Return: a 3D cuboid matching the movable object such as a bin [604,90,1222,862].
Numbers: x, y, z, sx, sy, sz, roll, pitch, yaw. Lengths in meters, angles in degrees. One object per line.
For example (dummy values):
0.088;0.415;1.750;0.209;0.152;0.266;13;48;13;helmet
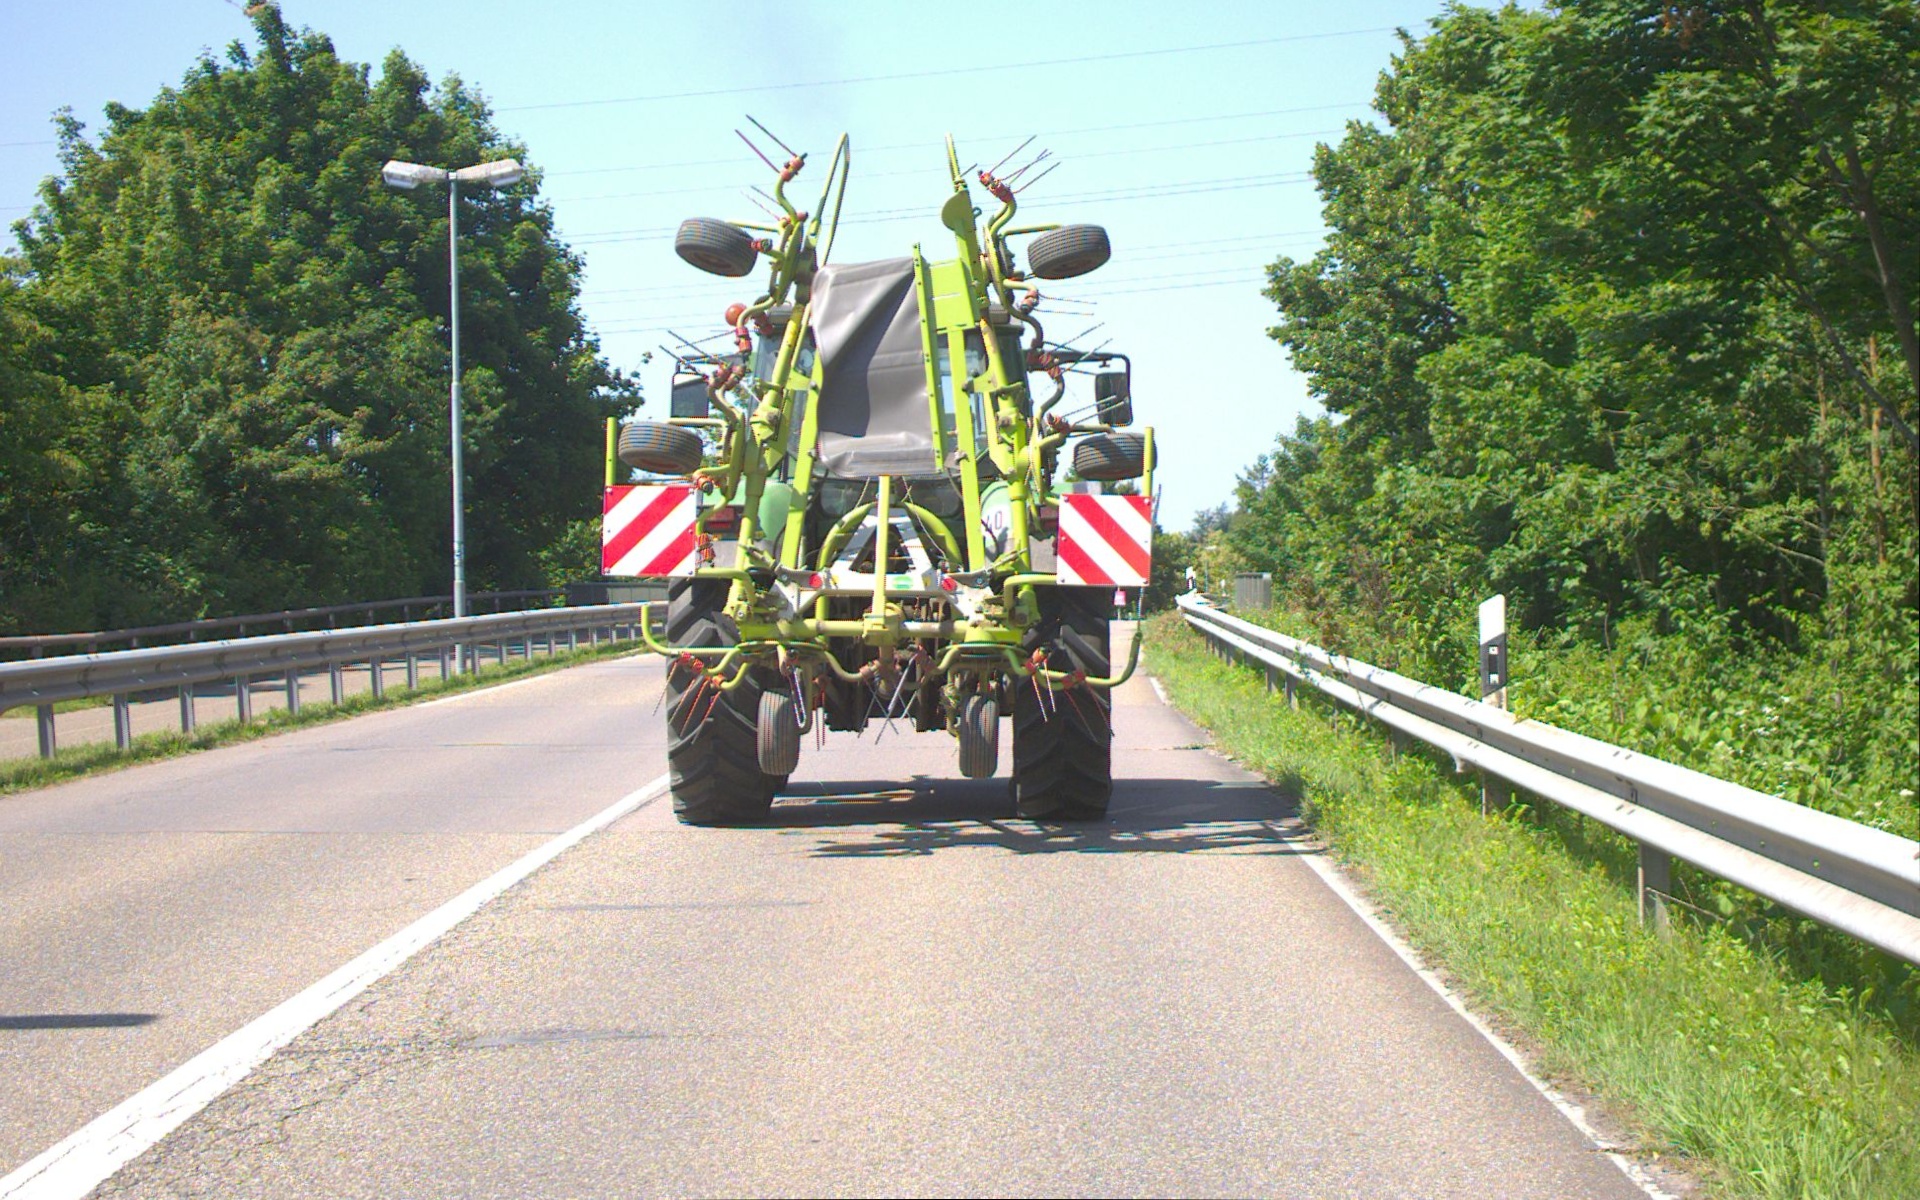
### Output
-0.330;-0.605;18.169;2.755;3.432;5.671;0;1;-2;movable object such as a bin
